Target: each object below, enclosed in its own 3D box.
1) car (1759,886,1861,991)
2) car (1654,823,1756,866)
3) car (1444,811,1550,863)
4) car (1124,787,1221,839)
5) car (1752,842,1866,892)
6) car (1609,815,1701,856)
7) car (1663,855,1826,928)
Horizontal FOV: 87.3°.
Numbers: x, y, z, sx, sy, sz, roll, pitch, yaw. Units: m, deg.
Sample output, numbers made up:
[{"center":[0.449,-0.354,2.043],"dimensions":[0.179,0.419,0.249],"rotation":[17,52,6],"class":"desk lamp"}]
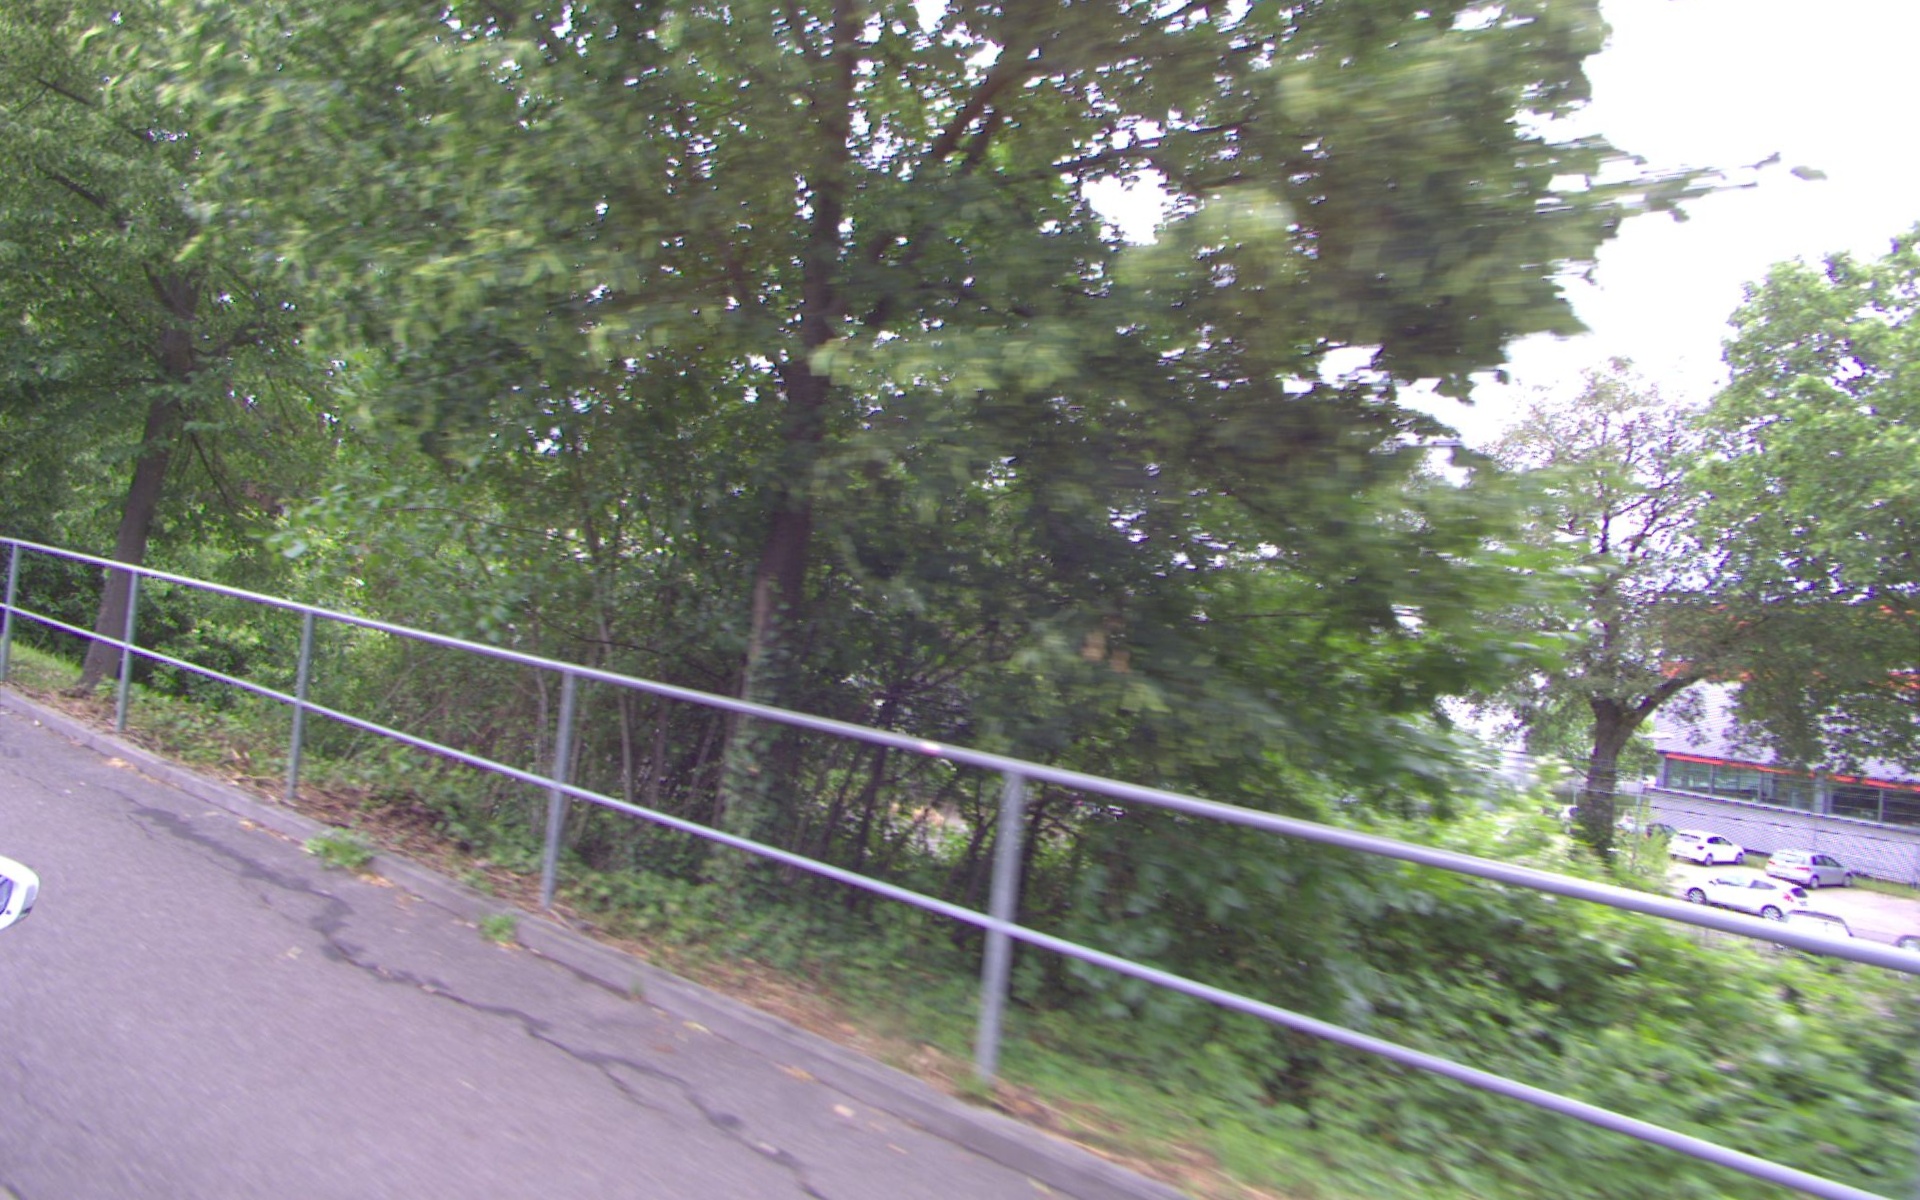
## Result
[{"center":[24.593,9.689,29.194],"dimensions":[1.971,1.812,4.566],"rotation":[6,-2,40],"class":"car"},{"center":[36.046,11.779,48.662],"dimensions":[4.281,1.487,1.990],"rotation":[4,0,-23],"class":"car"},{"center":[24.459,10.802,45.854],"dimensions":[4.291,1.736,1.988],"rotation":[9,-2,-26],"class":"car"},{"center":[8.679,8.595,40.825],"dimensions":[1.971,1.485,4.329],"rotation":[6,-2,39],"class":"car"},{"center":[37.606,11.779,44.564],"dimensions":[4.278,1.487,1.991],"rotation":[3,0,-21],"class":"car"},{"center":[35.295,11.947,51.082],"dimensions":[4.293,1.485,1.987],"rotation":[9,-2,-27],"class":"car"},{"center":[29.366,10.894,37.815],"dimensions":[1.976,1.485,4.318],"rotation":[8,-2,-25],"class":"car"}]
